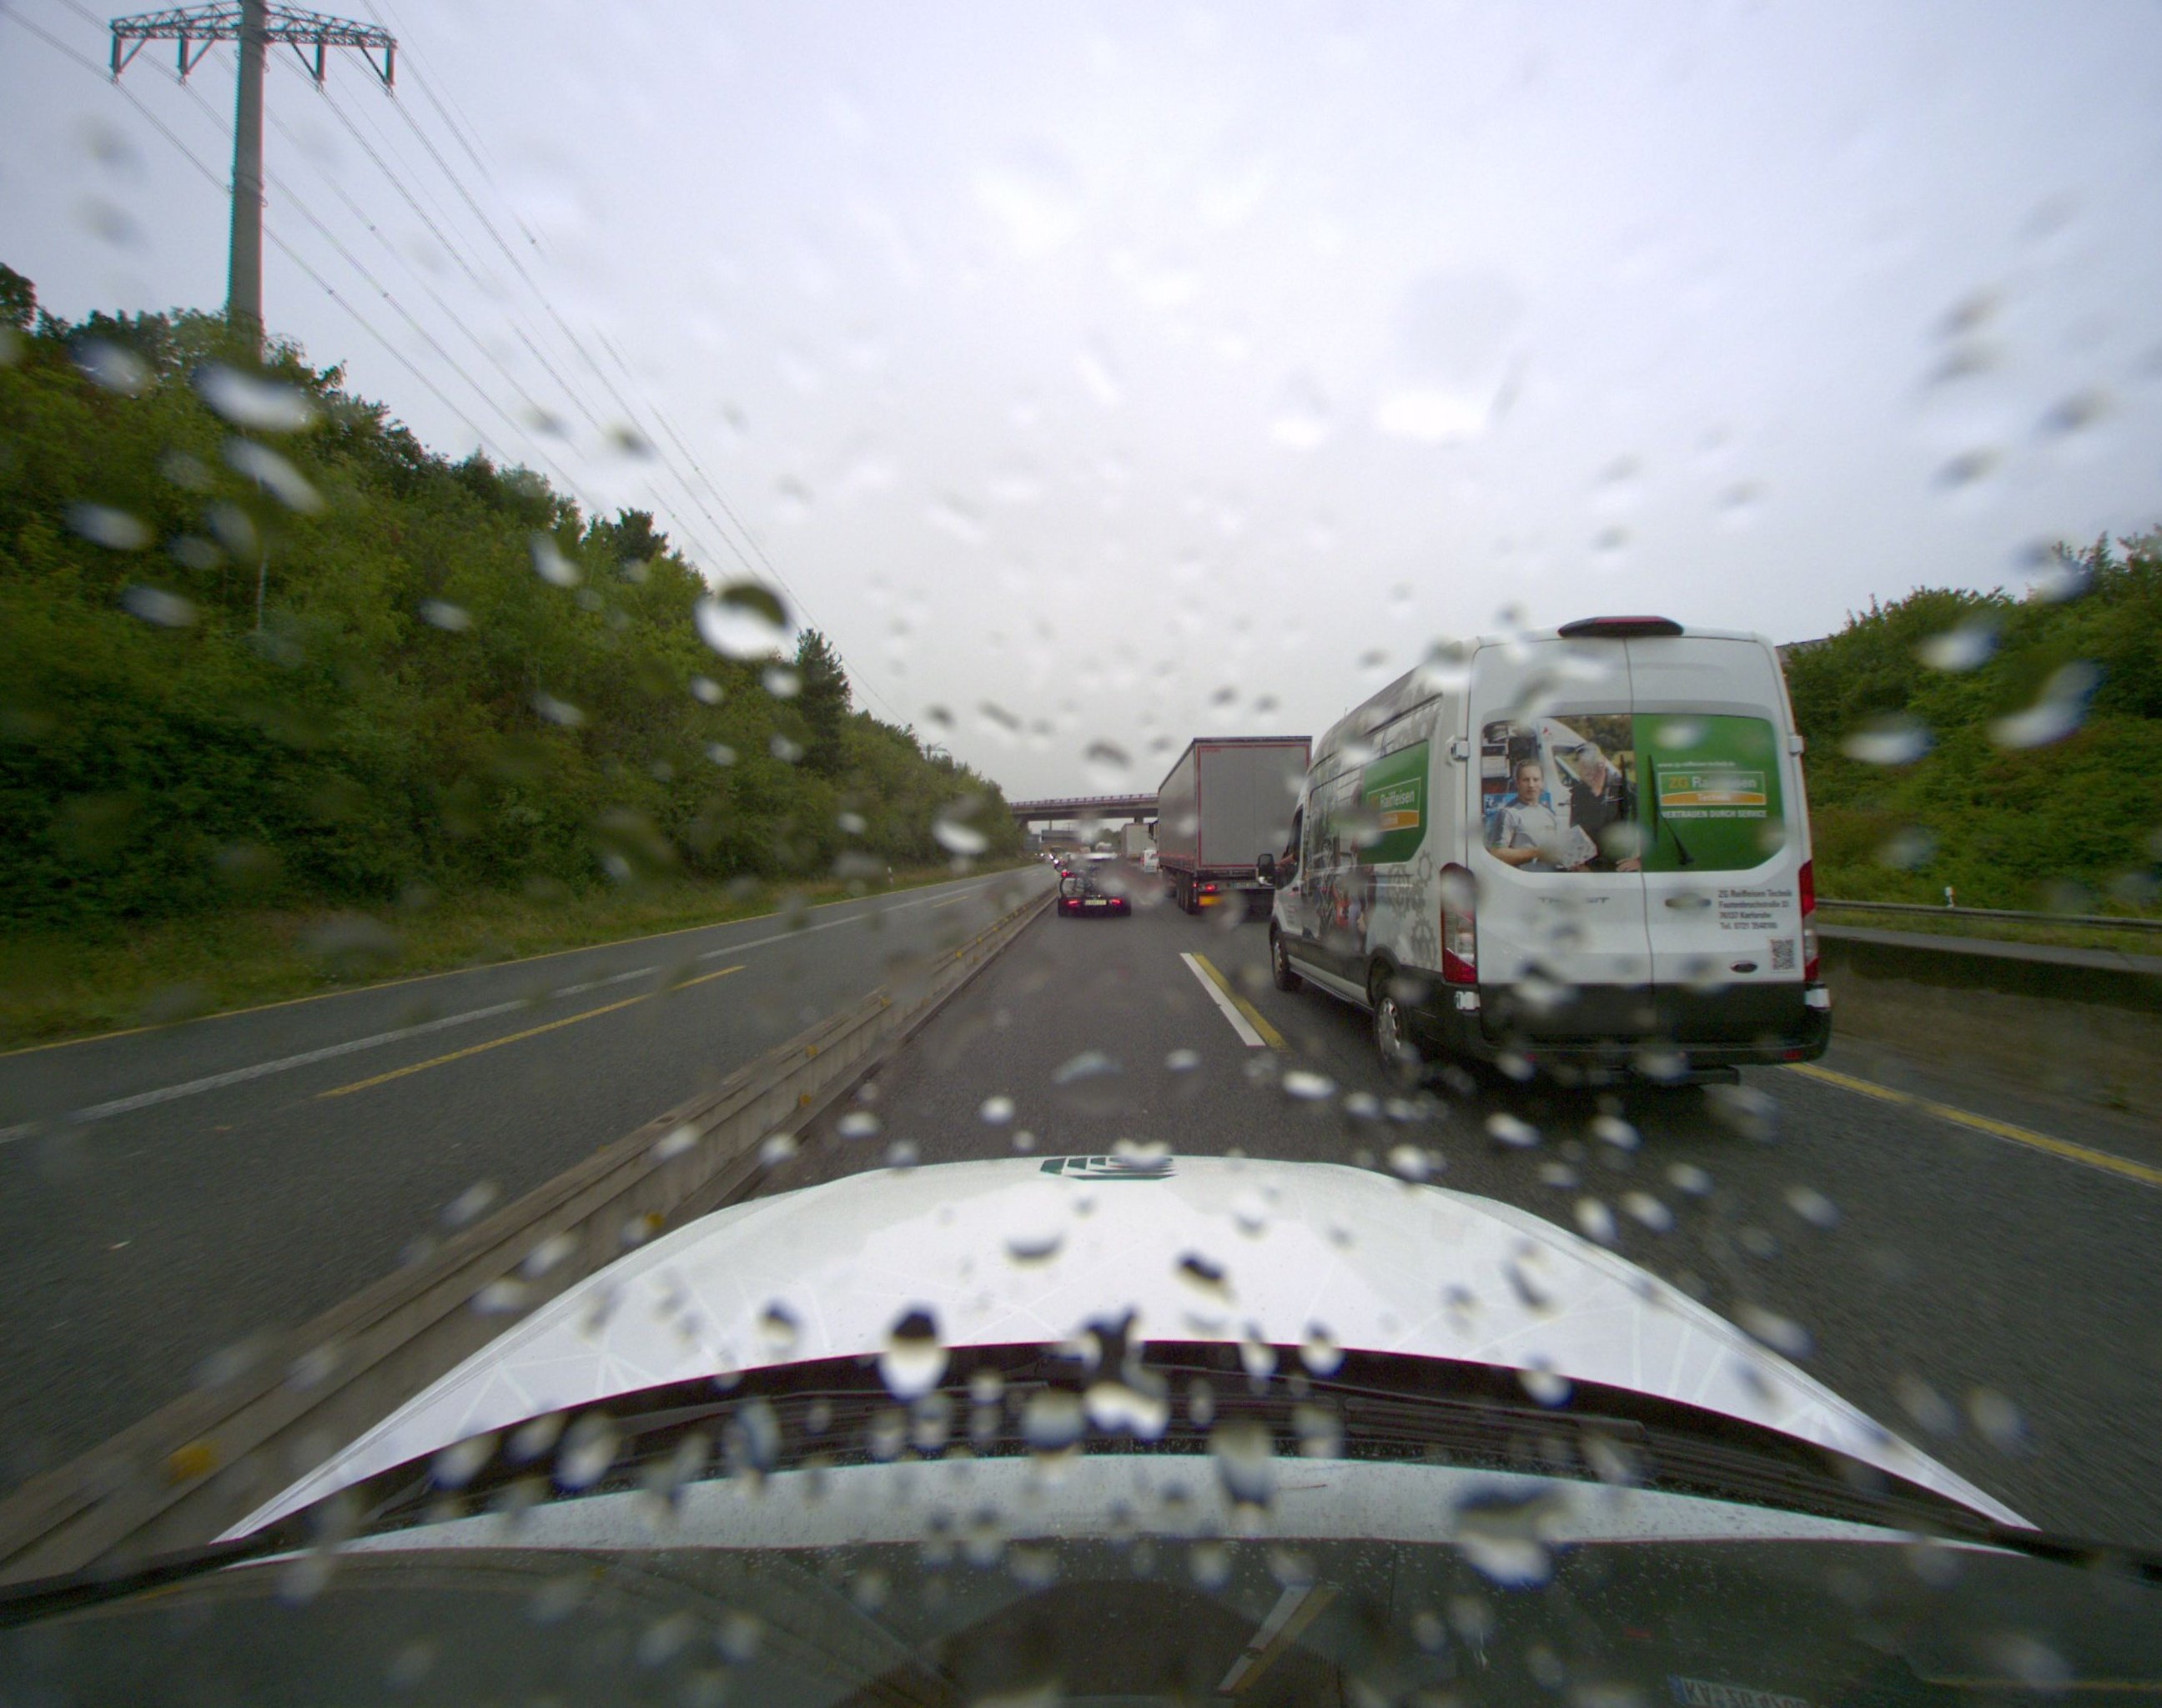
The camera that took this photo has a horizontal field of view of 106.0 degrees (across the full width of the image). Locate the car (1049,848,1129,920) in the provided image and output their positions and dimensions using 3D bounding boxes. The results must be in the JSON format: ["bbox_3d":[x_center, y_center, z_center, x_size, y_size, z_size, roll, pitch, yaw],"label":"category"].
[{"bbox_3d":[0.296,0.703,20.875,1.803,1.637,4.639,-1,0,3],"label":"car"}]

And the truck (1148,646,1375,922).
[{"bbox_3d":[4.587,-1.382,27.091,3.963,5.673,20.390,-1,0,3],"label":"truck"}]

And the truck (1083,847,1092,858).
[{"bbox_3d":[2.082,-0.447,249.370,2.526,3.352,12.051,-1,0,1],"label":"truck"}]

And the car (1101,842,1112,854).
[{"bbox_3d":[5.216,-1.176,165.476,2.231,2.307,4.573,-1,-1,2],"label":"car"}]

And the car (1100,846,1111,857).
[{"bbox_3d":[4.537,-0.377,152.392,1.986,2.014,4.002,-1,-1,2],"label":"car"}]

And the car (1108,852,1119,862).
[{"bbox_3d":[5.010,0.535,125.803,1.632,1.497,3.667,-1,0,2],"label":"car"}]

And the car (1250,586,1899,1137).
[{"bbox_3d":[3.028,0.065,7.046,2.135,2.676,6.121,-1,0,3],"label":"car"}]

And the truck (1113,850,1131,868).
[{"bbox_3d":[4.746,0.601,95.165,1.986,2.014,4.001,-1,-1,2],"label":"truck"}]

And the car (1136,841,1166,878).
[{"bbox_3d":[4.354,0.334,51.269,1.663,2.180,4.538,-1,0,3],"label":"car"}]

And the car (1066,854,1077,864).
[{"bbox_3d":[-1.697,0.925,150.772,1.803,1.633,4.120,-1,0,3],"label":"car"}]

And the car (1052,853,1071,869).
[{"bbox_3d":[-2.047,0.754,86.283,1.788,1.555,4.001,1,0,2],"label":"car"}]

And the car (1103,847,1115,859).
[{"bbox_3d":[4.846,-0.198,138.641,1.986,2.014,4.002,-1,-1,2],"label":"car"}]

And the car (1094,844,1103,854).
[{"bbox_3d":[3.857,-1.079,177.958,1.986,2.126,4.528,-1,0,2],"label":"car"}]

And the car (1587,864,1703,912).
[{"bbox_3d":[22.683,1.297,32.972,1.723,1.769,4.329,-1,0,1],"label":"car"}]

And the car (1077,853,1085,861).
[{"bbox_3d":[0.087,0.605,185.767,1.804,1.824,4.634,-1,0,0],"label":"car"}]

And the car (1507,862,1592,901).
[{"bbox_3d":[22.842,1.310,39.874,1.723,1.757,4.268,-1,0,1],"label":"car"}]

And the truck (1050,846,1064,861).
[{"bbox_3d":[-5.508,-0.165,188.589,2.526,3.352,12.051,-1,0,1],"label":"truck"}]

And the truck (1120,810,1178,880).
[{"bbox_3d":[6.114,-0.662,77.234,4.723,5.673,20.390,-1,0,3],"label":"truck"}]
